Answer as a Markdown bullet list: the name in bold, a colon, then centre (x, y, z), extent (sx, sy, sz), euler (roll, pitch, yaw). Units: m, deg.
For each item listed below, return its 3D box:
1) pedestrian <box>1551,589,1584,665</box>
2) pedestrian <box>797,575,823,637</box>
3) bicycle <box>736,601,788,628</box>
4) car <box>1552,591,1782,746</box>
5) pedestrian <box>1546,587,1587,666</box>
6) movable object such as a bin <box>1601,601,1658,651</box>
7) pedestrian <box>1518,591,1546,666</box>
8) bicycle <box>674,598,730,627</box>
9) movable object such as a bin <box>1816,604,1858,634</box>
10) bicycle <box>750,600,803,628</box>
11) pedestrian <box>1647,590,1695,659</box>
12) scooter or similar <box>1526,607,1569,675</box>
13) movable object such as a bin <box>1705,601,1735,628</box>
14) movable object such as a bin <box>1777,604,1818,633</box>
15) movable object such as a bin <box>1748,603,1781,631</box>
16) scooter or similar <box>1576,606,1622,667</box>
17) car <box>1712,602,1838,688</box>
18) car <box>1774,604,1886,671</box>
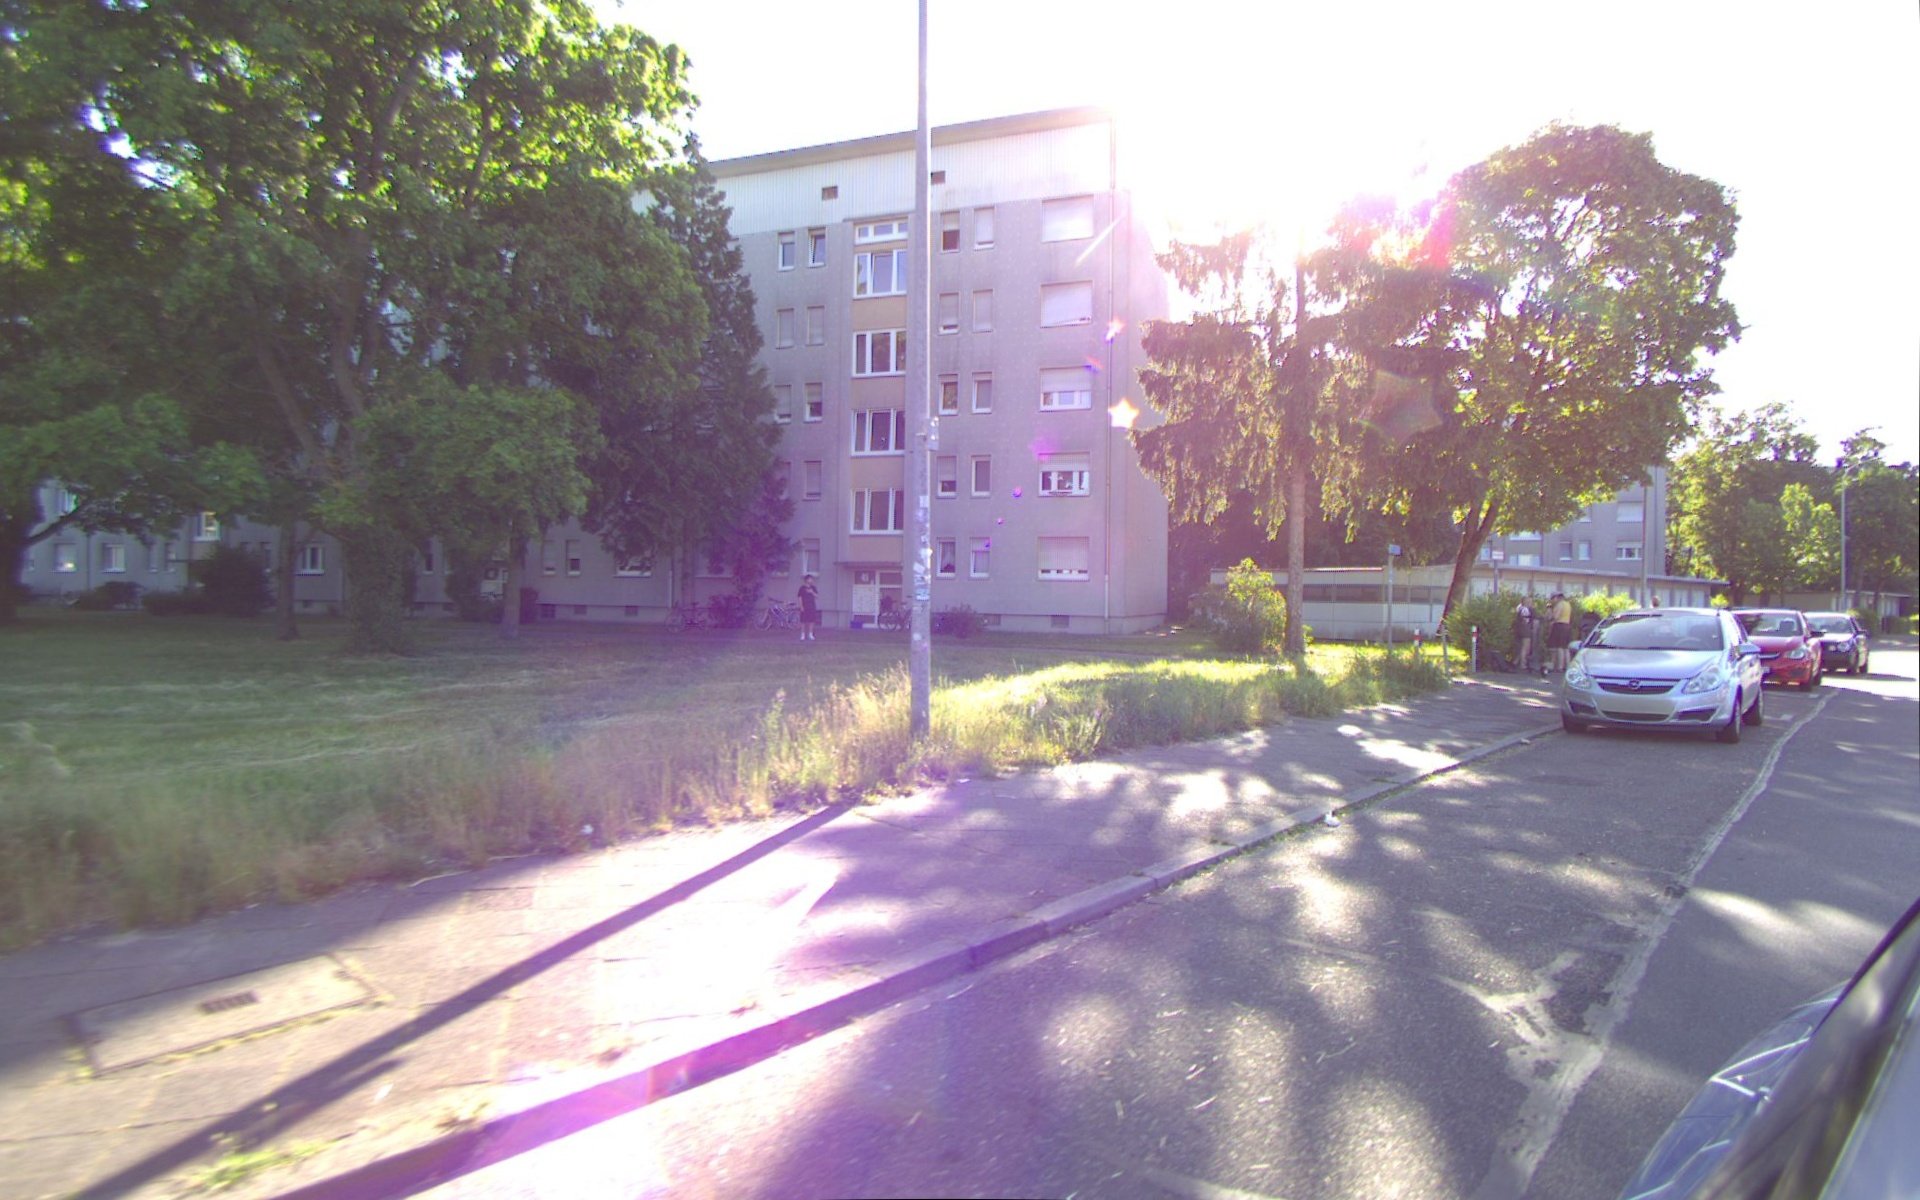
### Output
- **pedestrian**: centre (13.049, 0.561, 21.731), extent (0.485, 1.584, 0.462), euler (2, 2, 42)
- **pedestrian**: centre (-4.143, 0.166, 27.866), extent (0.525, 1.684, 0.491), euler (0, -2, -34)
- **bicycle**: centre (-6.478, 0.475, 33.101), extent (1.653, 0.858, 0.511), euler (0, -2, -45)
- **car**: centre (8.610, 0.688, 12.208), extent (1.731, 1.562, 3.729), euler (-1, 0, 44)
- **pedestrian**: centre (12.494, 0.529, 20.843), extent (0.585, 1.584, 0.483), euler (0, 2, -34)
- **movable object such as a bin**: centre (19.732, 0.748, 29.826), extent (0.899, 1.421, 1.239), euler (0, 0, -42)
- **pedestrian**: centre (11.839, 0.573, 20.946), extent (0.361, 1.521, 0.493), euler (2, 2, 43)
- **bicycle**: centre (-7.930, 0.389, 31.149), extent (1.653, 0.858, 0.511), euler (0, -2, -45)
- **movable object such as a bin**: centre (42.164, 0.906, 48.657), extent (1.031, 1.364, 1.256), euler (-1, 0, -28)
- **bicycle**: centre (-5.915, 0.456, 32.653), extent (1.653, 0.858, 0.511), euler (0, -2, -45)
- **pedestrian**: centre (16.619, 0.573, 23.663), extent (0.560, 1.585, 0.788), euler (0, -2, -44)
- **scooter or similar**: centre (11.451, 0.779, 19.746), extent (0.394, 1.242, 1.248), euler (1, 1, 15)
- **movable object such as a bin**: centre (40.805, 0.764, 54.346), extent (0.817, 1.435, 1.079), euler (-1, 0, -34)
- **movable object such as a bin**: centre (41.537, 0.902, 50.207), extent (1.031, 1.364, 1.256), euler (-1, 0, -28)
- **movable object such as a bin**: centre (40.960, 0.860, 51.510), extent (0.847, 1.364, 1.081), euler (-1, 0, -28)
- **scooter or similar**: centre (13.469, 0.753, 21.319), extent (0.890, 1.242, 0.623), euler (0, 1, -44)
- **car**: centre (15.685, 0.778, 19.416), extent (1.575, 1.465, 3.729), euler (-1, 0, 44)
- **car**: centre (20.988, 0.839, 24.363), extent (3.817, 1.420, 1.649), euler (0, 1, -43)
